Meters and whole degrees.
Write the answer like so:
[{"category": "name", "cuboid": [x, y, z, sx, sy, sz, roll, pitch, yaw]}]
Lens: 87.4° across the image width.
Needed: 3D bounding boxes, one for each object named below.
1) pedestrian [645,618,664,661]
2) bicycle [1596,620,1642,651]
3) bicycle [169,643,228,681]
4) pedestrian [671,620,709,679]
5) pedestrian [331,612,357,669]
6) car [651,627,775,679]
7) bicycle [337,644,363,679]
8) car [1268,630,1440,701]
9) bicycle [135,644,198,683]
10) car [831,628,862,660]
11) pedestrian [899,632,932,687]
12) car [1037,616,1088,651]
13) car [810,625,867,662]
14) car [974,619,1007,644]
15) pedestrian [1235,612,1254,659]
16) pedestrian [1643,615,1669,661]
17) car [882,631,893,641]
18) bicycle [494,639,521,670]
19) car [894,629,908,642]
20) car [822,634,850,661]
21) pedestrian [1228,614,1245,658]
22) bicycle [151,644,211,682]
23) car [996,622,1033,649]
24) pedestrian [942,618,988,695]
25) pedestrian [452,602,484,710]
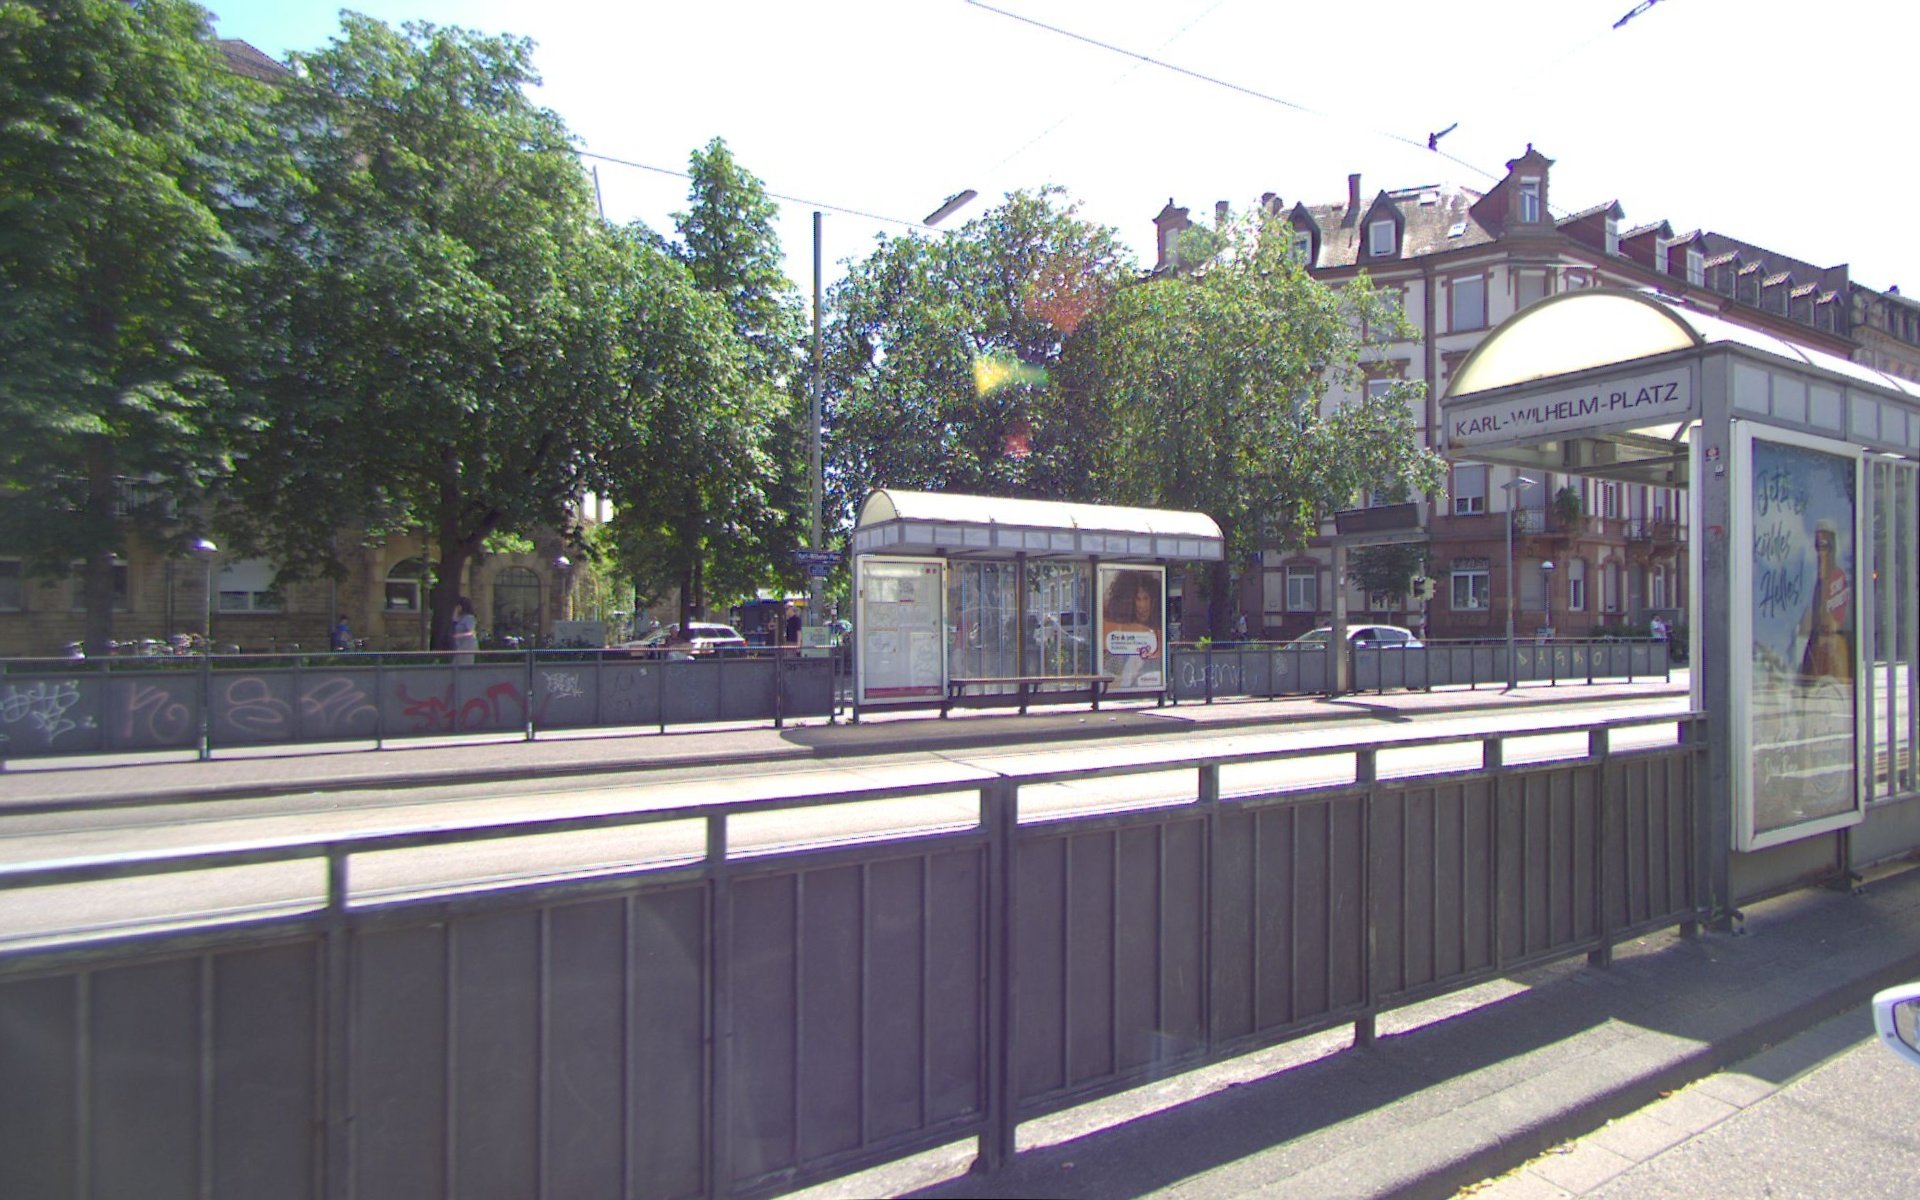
[{"category": "pedestrian", "cuboid": [-14.669, 1.912, 48.268, 0.702, 2.040, 0.813, 0, -1, -6]}, {"category": "bicycle", "cuboid": [25.521, 1.365, 38.892, 1.488, 1.185, 0.365, 0, 1, 6]}, {"category": "bicycle", "cuboid": [-20.620, 1.672, 27.204, 1.460, 0.969, 0.409, 0, -1, 12]}, {"category": "pedestrian", "cuboid": [-5.917, 1.071, 22.019, 0.539, 1.272, 0.646, 0, -1, 19]}, {"category": "pedestrian", "cuboid": [-19.723, 1.298, 32.173, 0.617, 1.800, 0.608, 1, -1, -26]}, {"category": "car", "cuboid": [-7.938, 1.665, 32.348, 3.554, 1.596, 1.566, 1, -1, -37]}, {"category": "bicycle", "cuboid": [-18.126, 1.811, 29.830, 0.406, 0.969, 1.472, 1, -1, -41]}, {"category": "car", "cuboid": [8.344, 1.333, 21.200, 3.678, 1.356, 1.532, 1, -1, -32]}, {"category": "bicycle", "cuboid": [-20.767, 1.655, 26.290, 1.639, 0.987, 0.290, 0, -1, 12]}, {"category": "car", "cuboid": [-5.695, 2.191, 50.676, 1.512, 1.461, 3.738, 1, -1, -6]}, {"category": "pedestrian", "cuboid": [-1.091, 1.455, 24.608, 0.606, 1.304, 0.646, 0, -1, 20]}, {"category": "car", "cuboid": [4.495, 1.450, 44.610, 1.512, 1.461, 3.738, 1, -1, -6]}, {"category": "car", "cuboid": [-5.250, 1.843, 42.976, 1.519, 1.461, 3.722, 1, -1, -22]}, {"category": "car", "cuboid": [2.034, 2.100, 68.054, 1.727, 1.639, 3.997, 0, -1, -6]}, {"category": "pedestrian", "cuboid": [11.555, 1.434, 40.793, 0.556, 1.849, 0.633, 0, -1, 37]}, {"category": "pedestrian", "cuboid": [25.282, 1.366, 36.504, 0.640, 1.637, 0.469, 0, 2, 17]}, {"category": "car", "cuboid": [-10.757, 5.382, 149.308, 1.512, 1.461, 3.738, 1, -1, -6]}, {"category": "bicycle", "cuboid": [-15.045, 1.815, 33.400, 0.406, 0.969, 1.472, 1, -1, -41]}, {"category": "car", "cuboid": [-6.808, 4.080, 115.983, 1.512, 1.461, 3.738, 1, -1, -6]}, {"category": "car", "cuboid": [-7.203, 2.726, 58.418, 1.512, 1.461, 3.738, 1, -1, -6]}, {"category": "pedestrian", "cuboid": [11.443, 1.479, 41.591, 0.500, 1.791, 0.527, 0, -1, 38]}, {"category": "bicycle", "cuboid": [-20.724, 1.669, 26.725, 1.460, 0.969, 0.409, 0, -1, 12]}, {"category": "car", "cuboid": [3.050, 1.966, 56.467, 1.512, 1.461, 3.738, 1, -1, -6]}, {"category": "pedestrian", "cuboid": [0.108, 1.208, 21.842, 0.765, 1.627, 0.675, 1, -1, -34]}, {"category": "pedestrian", "cuboid": [-8.792, 0.989, 17.950, 0.487, 1.904, 0.509, 1, -1, -26]}]
